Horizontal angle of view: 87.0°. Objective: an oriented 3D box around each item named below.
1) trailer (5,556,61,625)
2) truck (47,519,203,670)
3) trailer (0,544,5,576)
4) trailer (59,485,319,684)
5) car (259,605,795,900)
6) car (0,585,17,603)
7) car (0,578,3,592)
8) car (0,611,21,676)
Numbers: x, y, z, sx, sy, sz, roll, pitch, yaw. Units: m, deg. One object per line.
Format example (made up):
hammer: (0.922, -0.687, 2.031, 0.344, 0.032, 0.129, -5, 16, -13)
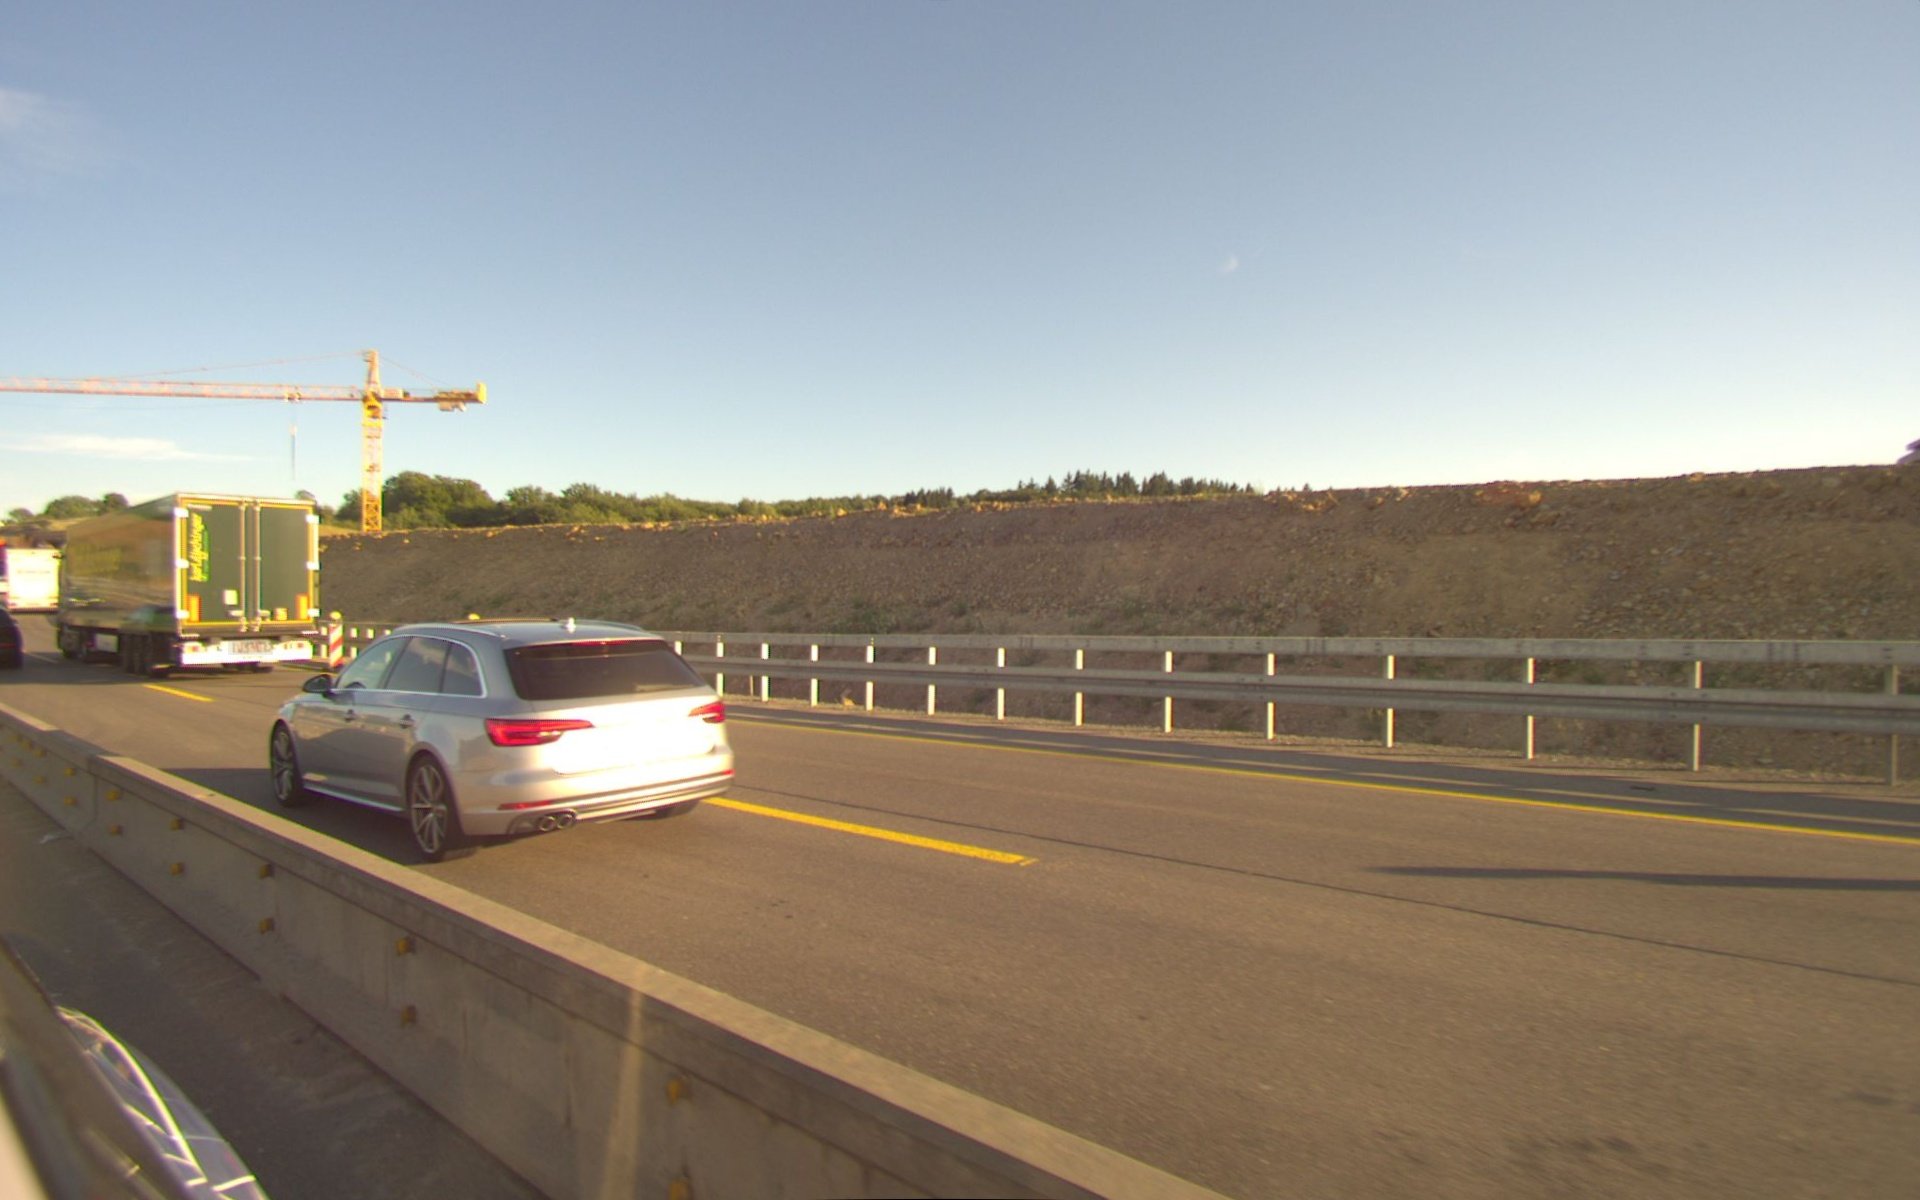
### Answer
trailer: (-62.306, -0.737, 68.122, 2.500, 4.245, 13.951, -1, 2, -42)
truck: (-25.199, -0.119, 30.478, 5.773, 4.112, 2.741, -1, -1, 41)
trailer: (-139.511, -5.812, 145.610, 14.144, 4.504, 2.555, 3, 3, 45)
trailer: (-20.416, -0.224, 26.219, 13.676, 4.062, 2.744, -1, -1, 41)
car: (-3.228, 0.794, 7.126, 4.153, 1.443, 1.842, -1, 0, 41)
car: (-83.203, -0.513, 87.888, 1.768, 1.499, 4.223, 0, 1, -44)
car: (-113.661, -1.772, 118.743, 1.767, 1.631, 4.881, -1, 3, -41)
car: (-26.611, 1.128, 26.977, 4.493, 1.621, 1.892, 0, 0, 41)
